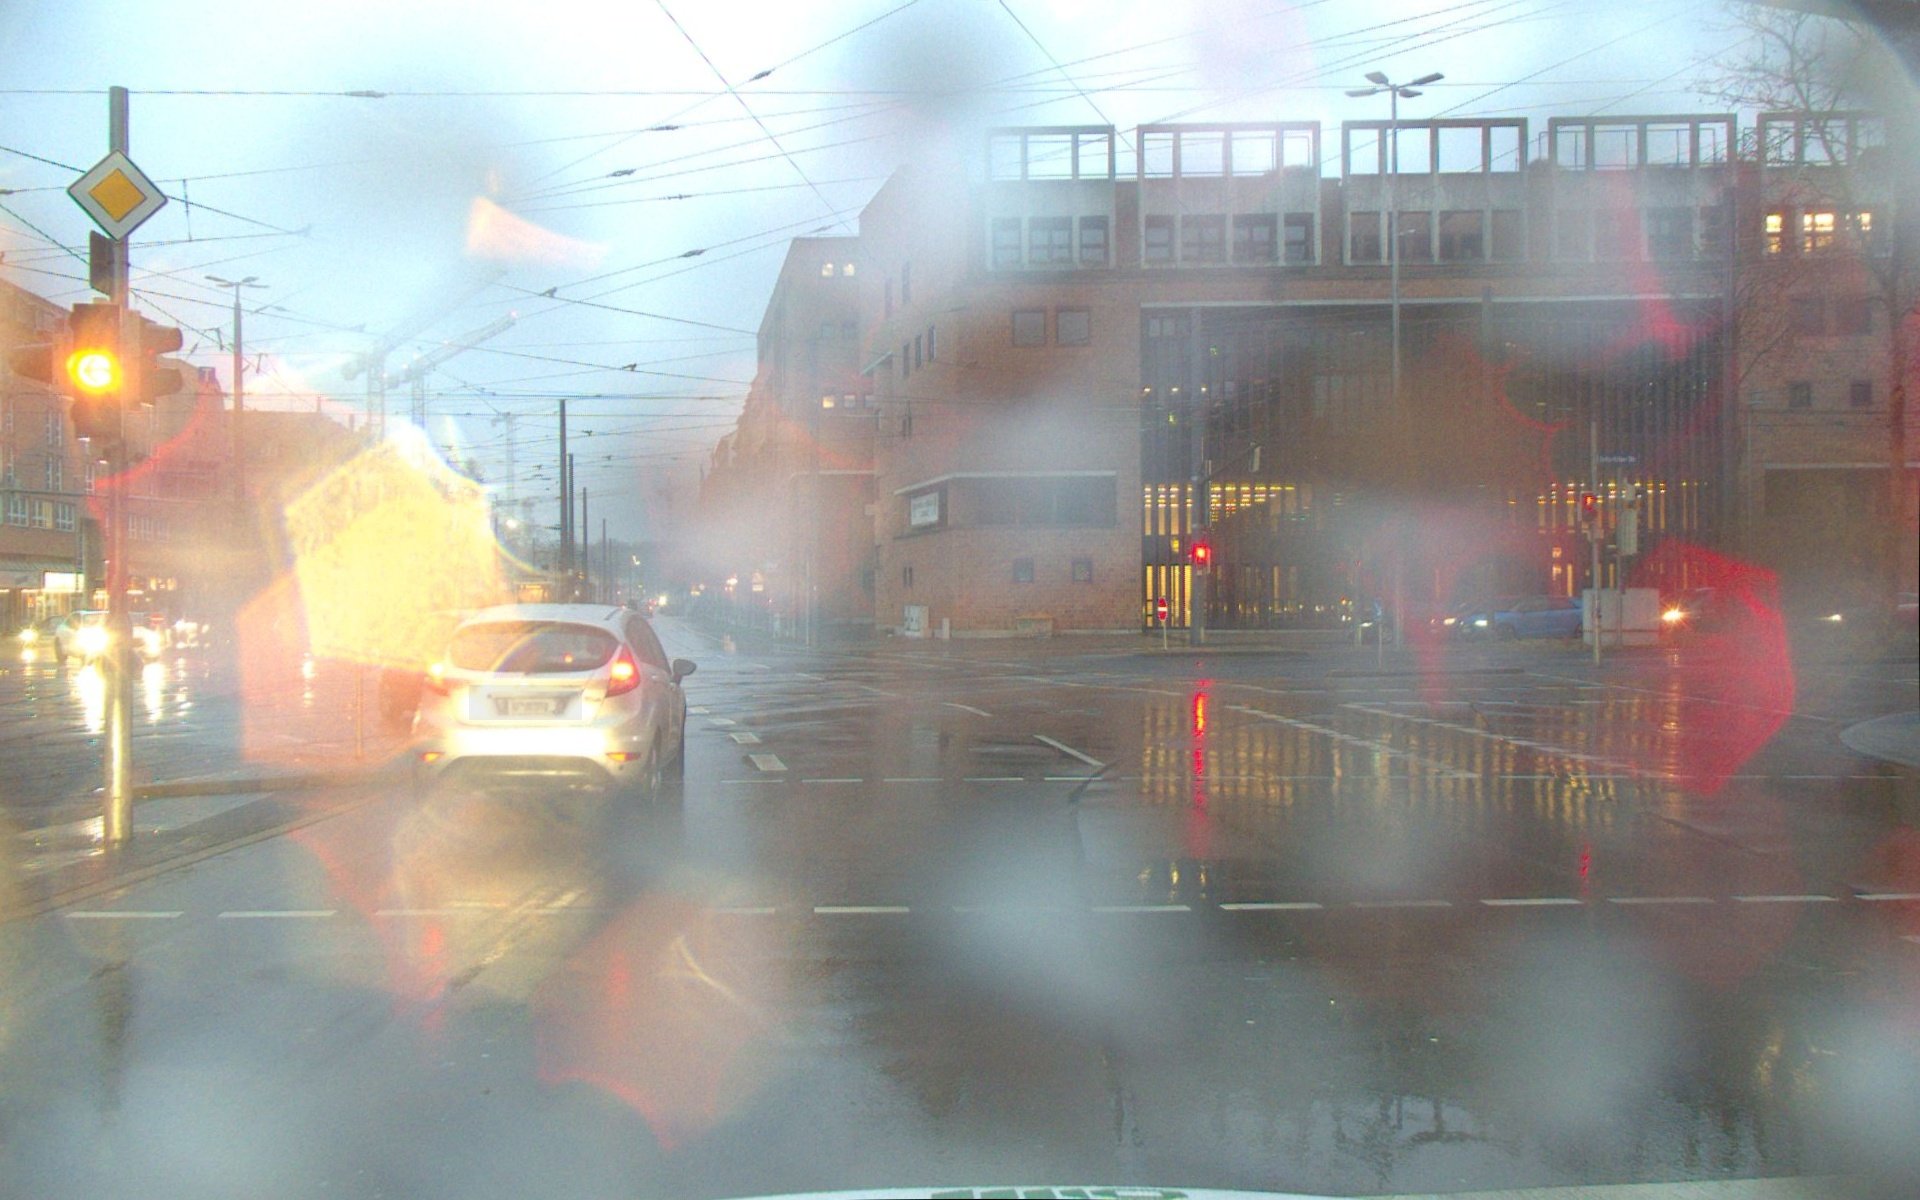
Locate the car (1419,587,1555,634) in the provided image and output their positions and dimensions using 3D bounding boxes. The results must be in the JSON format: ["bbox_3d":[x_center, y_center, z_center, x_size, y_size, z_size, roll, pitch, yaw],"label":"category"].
[{"bbox_3d":[16.599,0.324,52.148,3.649,1.284,1.846,-1,4,-7],"label":"car"}]

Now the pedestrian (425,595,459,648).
[{"bbox_3d":[-20.395,0.846,65.100,0.959,2.049,0.835,0,0,14],"label":"pedestrian"}]

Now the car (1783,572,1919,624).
[{"bbox_3d":[29.329,-0.067,54.130,3.910,1.530,1.846,-1,4,-7],"label":"car"}]

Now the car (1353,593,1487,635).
[{"bbox_3d":[15.534,0.456,55.959,3.909,1.333,1.998,-1,0,-5],"label":"car"}]

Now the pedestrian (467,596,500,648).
[{"bbox_3d":[-19.066,0.871,66.182,0.959,2.049,0.835,0,0,14],"label":"pedestrian"}]

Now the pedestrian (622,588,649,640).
[{"bbox_3d":[-13.045,0.565,66.480,1.050,2.049,0.683,0,0,-14],"label":"pedestrian"}]

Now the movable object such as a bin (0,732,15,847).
[{"bbox_3d":[-6.284,1.201,10.322,0.404,0.711,0.536,-3,-1,33],"label":"movable object such as a bin"}]

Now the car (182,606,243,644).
[{"bbox_3d":[-33.378,1.101,73.928,1.756,1.652,3.852,0,0,-14],"label":"car"}]

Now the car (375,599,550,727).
[{"bbox_3d":[-6.540,0.753,21.514,1.676,1.485,3.727,-1,0,-25],"label":"car"}]

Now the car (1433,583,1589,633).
[{"bbox_3d":[15.973,0.215,48.052,3.910,1.284,1.846,-1,4,-7],"label":"car"}]

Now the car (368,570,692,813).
[{"bbox_3d":[-3.066,0.674,12.564,1.672,1.473,3.995,-2,-3,-5],"label":"car"}]

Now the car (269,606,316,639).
[{"bbox_3d":[-35.228,1.170,87.407,1.756,1.652,3.852,0,0,-14],"label":"car"}]

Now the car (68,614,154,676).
[{"bbox_3d":[-23.554,1.203,45.956,2.020,1.588,4.791,-1,0,-27],"label":"car"}]

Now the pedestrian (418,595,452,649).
[{"bbox_3d":[-20.316,0.840,64.038,0.959,2.049,0.835,0,0,14],"label":"pedestrian"}]

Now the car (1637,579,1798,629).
[{"bbox_3d":[22.344,0.102,48.857,3.910,1.310,1.846,-1,4,-7],"label":"car"}]

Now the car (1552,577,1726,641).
[{"bbox_3d":[18.225,0.213,44.507,3.910,1.530,1.846,-1,4,-7],"label":"car"}]
